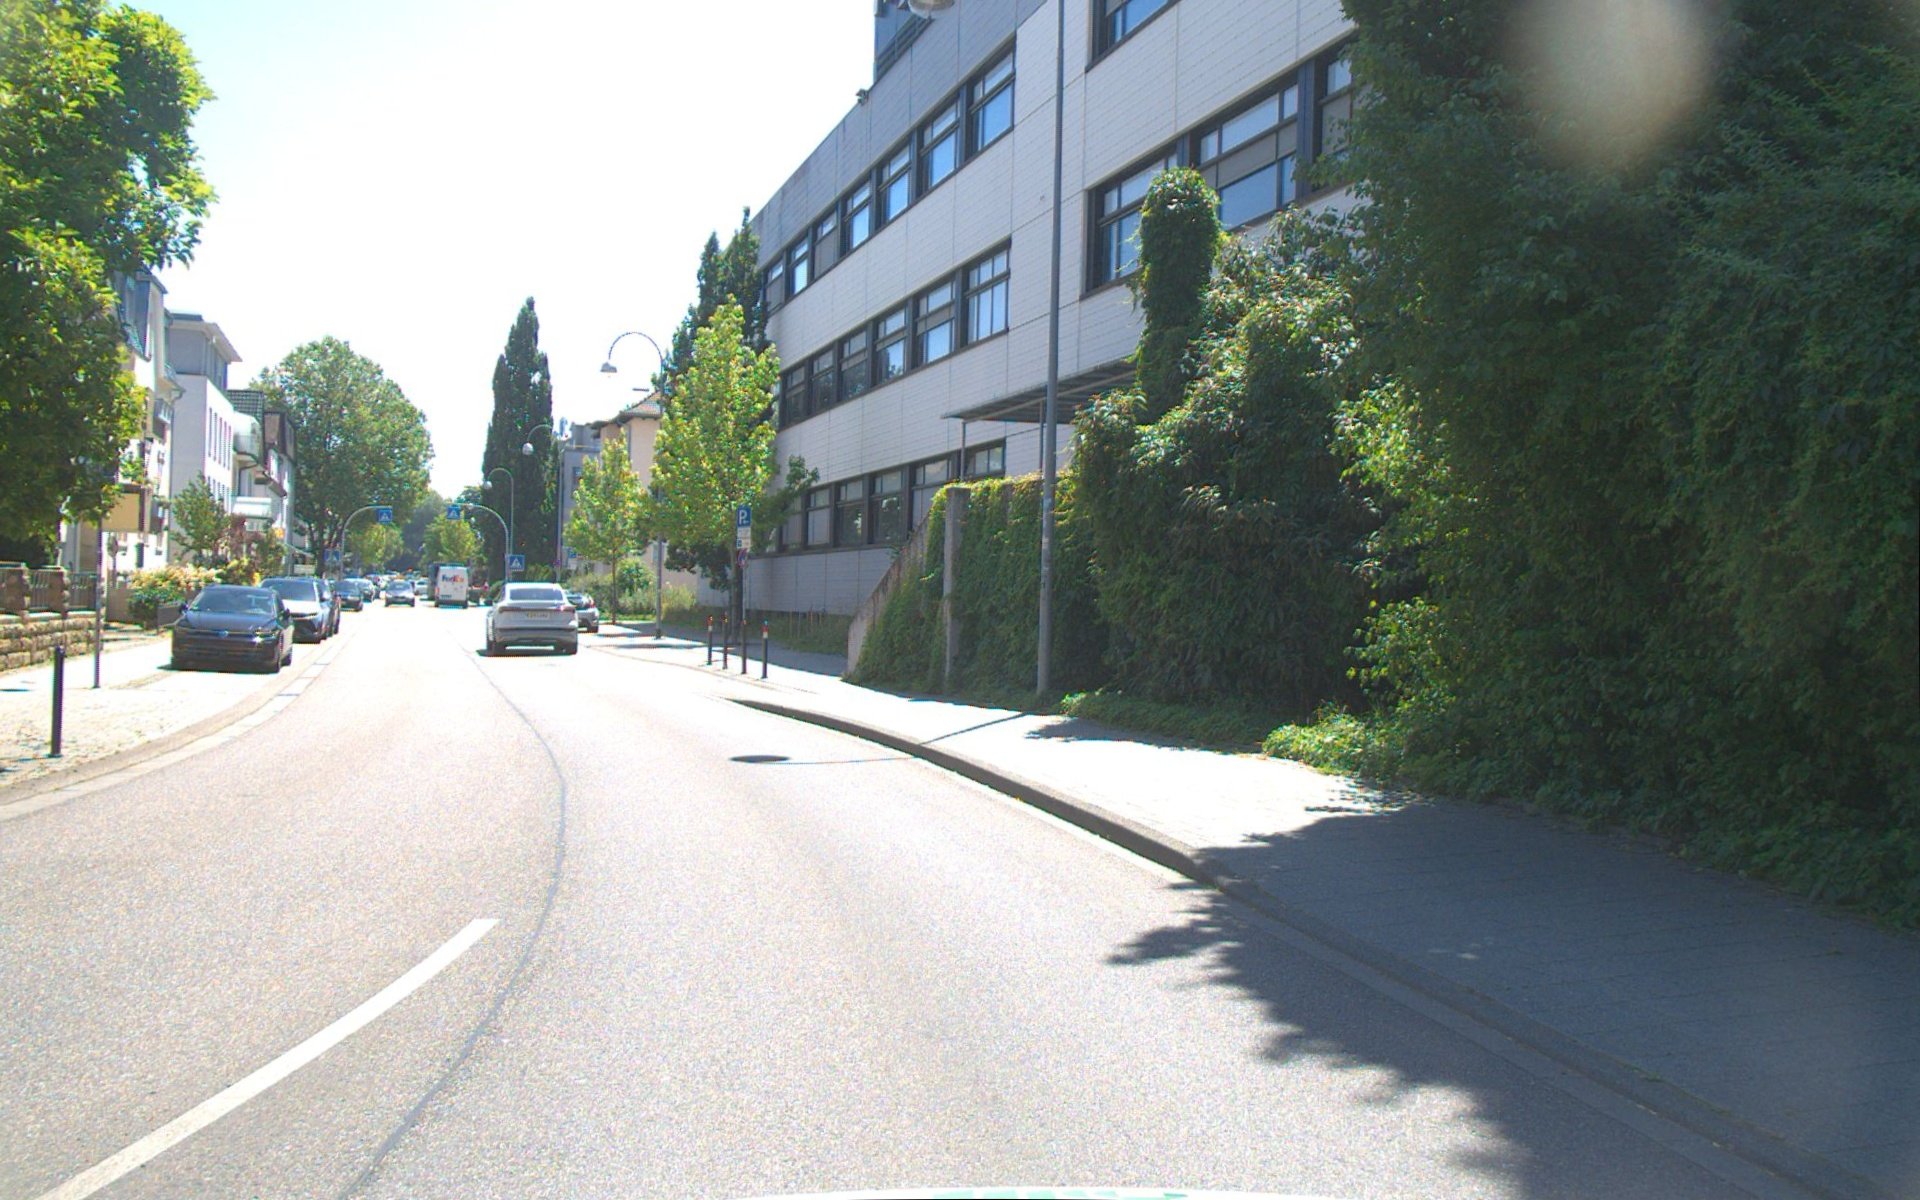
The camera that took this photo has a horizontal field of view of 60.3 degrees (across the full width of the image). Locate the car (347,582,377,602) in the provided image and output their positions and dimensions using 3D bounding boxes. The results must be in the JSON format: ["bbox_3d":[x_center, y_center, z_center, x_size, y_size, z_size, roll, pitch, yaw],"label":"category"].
[{"bbox_3d":[-42.563,-0.557,117.838,1.964,1.373,3.977,1,0,-20],"label":"car"}]

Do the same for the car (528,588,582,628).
[{"bbox_3d":[-16.069,0.300,65.501,1.634,1.514,4.321,-1,1,-19],"label":"car"}]

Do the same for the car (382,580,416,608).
[{"bbox_3d":[-35.225,-0.368,103.864,1.945,1.700,4.446,1,0,-20],"label":"car"}]

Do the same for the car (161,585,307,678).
[{"bbox_3d":[-13.067,0.514,30.027,1.896,1.461,4.635,4,-1,-18],"label":"car"}]

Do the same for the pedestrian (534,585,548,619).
[{"bbox_3d":[-22.246,0.099,87.837,0.629,1.789,0.612,1,0,-24],"label":"pedestrian"}]

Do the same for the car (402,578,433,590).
[{"bbox_3d":[-77.470,-2.272,236.299,3.917,1.680,1.994,1,0,-12],"label":"car"}]

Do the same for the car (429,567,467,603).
[{"bbox_3d":[-32.751,-0.952,105.701,2.040,2.235,5.107,-1,1,-20],"label":"car"}]

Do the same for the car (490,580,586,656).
[{"bbox_3d":[-10.107,0.386,39.380,1.906,1.642,4.449,-2,1,-18],"label":"car"}]

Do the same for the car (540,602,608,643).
[{"bbox_3d":[-14.085,0.799,60.201,1.836,1.397,3.974,0,0,-22],"label":"car"}]

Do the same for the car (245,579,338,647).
[{"bbox_3d":[-17.703,0.315,43.958,1.896,1.600,4.635,4,-1,-18],"label":"car"}]

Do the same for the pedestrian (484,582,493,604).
[{"bbox_3d":[-39.115,-0.578,137.212,0.684,1.767,0.663,1,0,-24],"label":"pedestrian"}]

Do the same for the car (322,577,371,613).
[{"bbox_3d":[-31.769,-0.268,85.686,1.893,1.750,4.455,1,0,-14],"label":"car"}]
